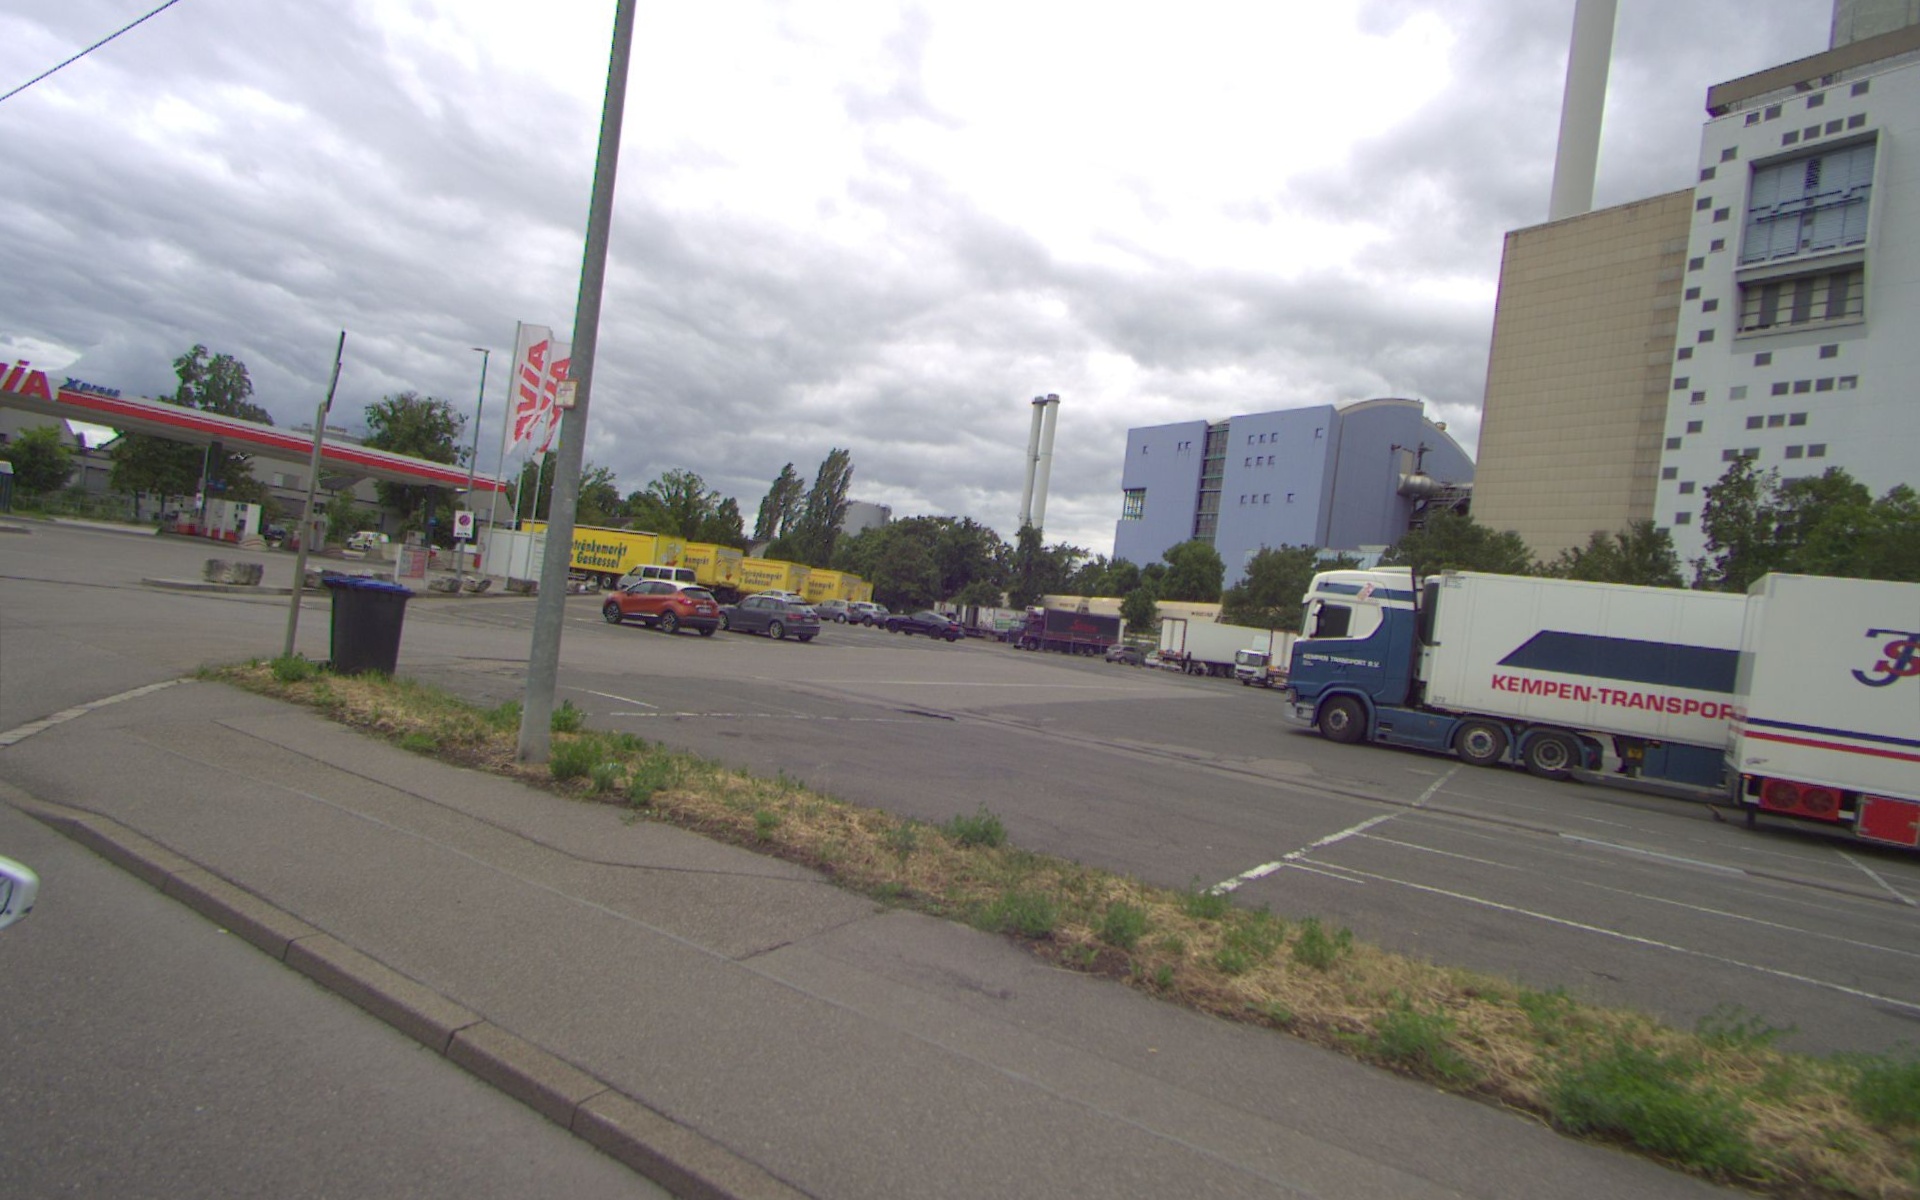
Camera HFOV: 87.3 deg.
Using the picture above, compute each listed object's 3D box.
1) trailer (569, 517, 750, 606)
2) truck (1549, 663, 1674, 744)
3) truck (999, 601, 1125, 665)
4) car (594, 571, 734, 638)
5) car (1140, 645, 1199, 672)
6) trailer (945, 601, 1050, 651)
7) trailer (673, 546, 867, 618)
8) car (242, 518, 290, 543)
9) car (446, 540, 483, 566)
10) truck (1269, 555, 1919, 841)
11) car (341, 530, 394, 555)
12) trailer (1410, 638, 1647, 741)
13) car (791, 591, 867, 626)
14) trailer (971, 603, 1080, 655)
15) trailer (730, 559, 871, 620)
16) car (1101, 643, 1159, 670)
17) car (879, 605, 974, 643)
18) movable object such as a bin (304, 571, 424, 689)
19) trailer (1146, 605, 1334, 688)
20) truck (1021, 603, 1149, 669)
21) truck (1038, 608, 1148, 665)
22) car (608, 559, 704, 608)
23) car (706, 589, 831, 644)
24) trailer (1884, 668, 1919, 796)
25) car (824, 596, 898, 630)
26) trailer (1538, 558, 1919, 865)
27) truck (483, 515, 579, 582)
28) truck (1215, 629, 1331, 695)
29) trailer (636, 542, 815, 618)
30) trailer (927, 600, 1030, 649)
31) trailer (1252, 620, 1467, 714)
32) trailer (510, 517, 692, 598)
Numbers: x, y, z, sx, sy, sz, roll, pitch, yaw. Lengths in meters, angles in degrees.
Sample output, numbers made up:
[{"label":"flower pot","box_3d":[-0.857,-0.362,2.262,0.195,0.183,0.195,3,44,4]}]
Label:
[{"label":"trailer","box_3d":[-21.213,-2.819,70.409,14.062,4.781,3.004,7,0,31]},{"label":"truck","box_3d":[42.293,6.729,65.295,7.182,4.222,3.681,8,-1,-31]},{"label":"truck","box_3d":[9.470,3.114,92.138,11.863,4.341,2.848,9,-2,-33]},{"label":"car","box_3d":[-9.313,0.130,31.592,4.145,1.590,1.767,7,0,31]},{"label":"car","box_3d":[17.189,4.784,82.397,4.650,1.620,1.970,9,-1,-36]},{"label":"trailer","box_3d":[4.588,3.165,119.807,12.466,4.353,3.527,9,-2,-34]},{"label":"trailer","box_3d":[-15.661,-1.597,81.272,17.768,3.963,2.694,7,0,31]},{"label":"car","box_3d":[-55.736,-5.580,80.798,3.820,1.548,1.734,7,0,33]},{"label":"car","box_3d":[-46.904,-4.465,95.158,2.084,2.128,4.854,7,-1,-36]},{"label":"truck","box_3d":[13.518,1.735,20.925,12.852,4.018,3.077,7,1,32]},{"label":"car","box_3d":[-52.113,-5.087,88.515,4.576,1.665,1.965,7,0,31]},{"label":"trailer","box_3d":[34.513,5.541,60.421,18.313,4.222,3.613,9,-1,-31]},{"label":"car","box_3d":[-8.638,0.539,66.453,4.611,1.620,1.987,7,-1,31]},{"label":"trailer","box_3d":[7.509,3.339,114.015,12.466,4.353,3.527,9,-2,-34]},{"label":"trailer","box_3d":[-14.376,-0.983,89.759,13.459,3.963,2.694,7,0,31]},{"label":"car","box_3d":[14.123,4.684,83.371,4.650,1.620,1.970,9,-1,-36]},{"label":"car","box_3d":[-1.811,1.285,53.895,4.606,1.385,1.987,7,-1,31]},{"label":"movable object such as a bin","box_3d":[-6.116,0.319,10.339,0.651,1.094,0.716,8,0,25]},{"label":"trailer","box_3d":[22.925,3.912,81.143,18.125,4.552,3.527,9,-2,-34]},{"label":"truck","box_3d":[11.252,3.258,89.613,11.863,4.341,2.848,9,-2,-33]},{"label":"truck","box_3d":[13.857,3.845,103.644,11.863,4.341,2.848,9,-2,-33]},{"label":"car","box_3d":[-16.206,-0.891,53.575,4.868,1.935,1.987,7,0,31]},{"label":"car","box_3d":[-6.801,0.568,35.662,4.145,1.408,1.766,7,1,31]},{"label":"trailer","box_3d":[35.970,4.892,28.734,13.480,3.957,3.644,8,0,18]},{"label":"car","box_3d":[-6.736,0.855,68.149,4.611,1.620,1.987,7,-1,31]},{"label":"trailer","box_3d":[15.000,1.907,15.273,10.239,4.018,2.957,7,1,35]},{"label":"truck","box_3d":[-30.455,-3.680,71.398,5.939,3.963,2.961,7,0,31]},{"label":"truck","box_3d":[22.251,4.402,71.408,7.183,3.600,3.681,8,-1,-31]},{"label":"trailer","box_3d":[-18.552,-1.661,78.571,15.461,4.313,3.025,7,0,31]},{"label":"trailer","box_3d":[2.404,2.996,123.218,12.466,4.353,3.642,9,-2,-34]},{"label":"trailer","box_3d":[28.347,4.865,70.522,18.106,4.552,3.531,9,-2,-31]},{"label":"trailer","box_3d":[-24.398,-2.951,67.762,14.062,3.963,3.004,7,0,31]}]
